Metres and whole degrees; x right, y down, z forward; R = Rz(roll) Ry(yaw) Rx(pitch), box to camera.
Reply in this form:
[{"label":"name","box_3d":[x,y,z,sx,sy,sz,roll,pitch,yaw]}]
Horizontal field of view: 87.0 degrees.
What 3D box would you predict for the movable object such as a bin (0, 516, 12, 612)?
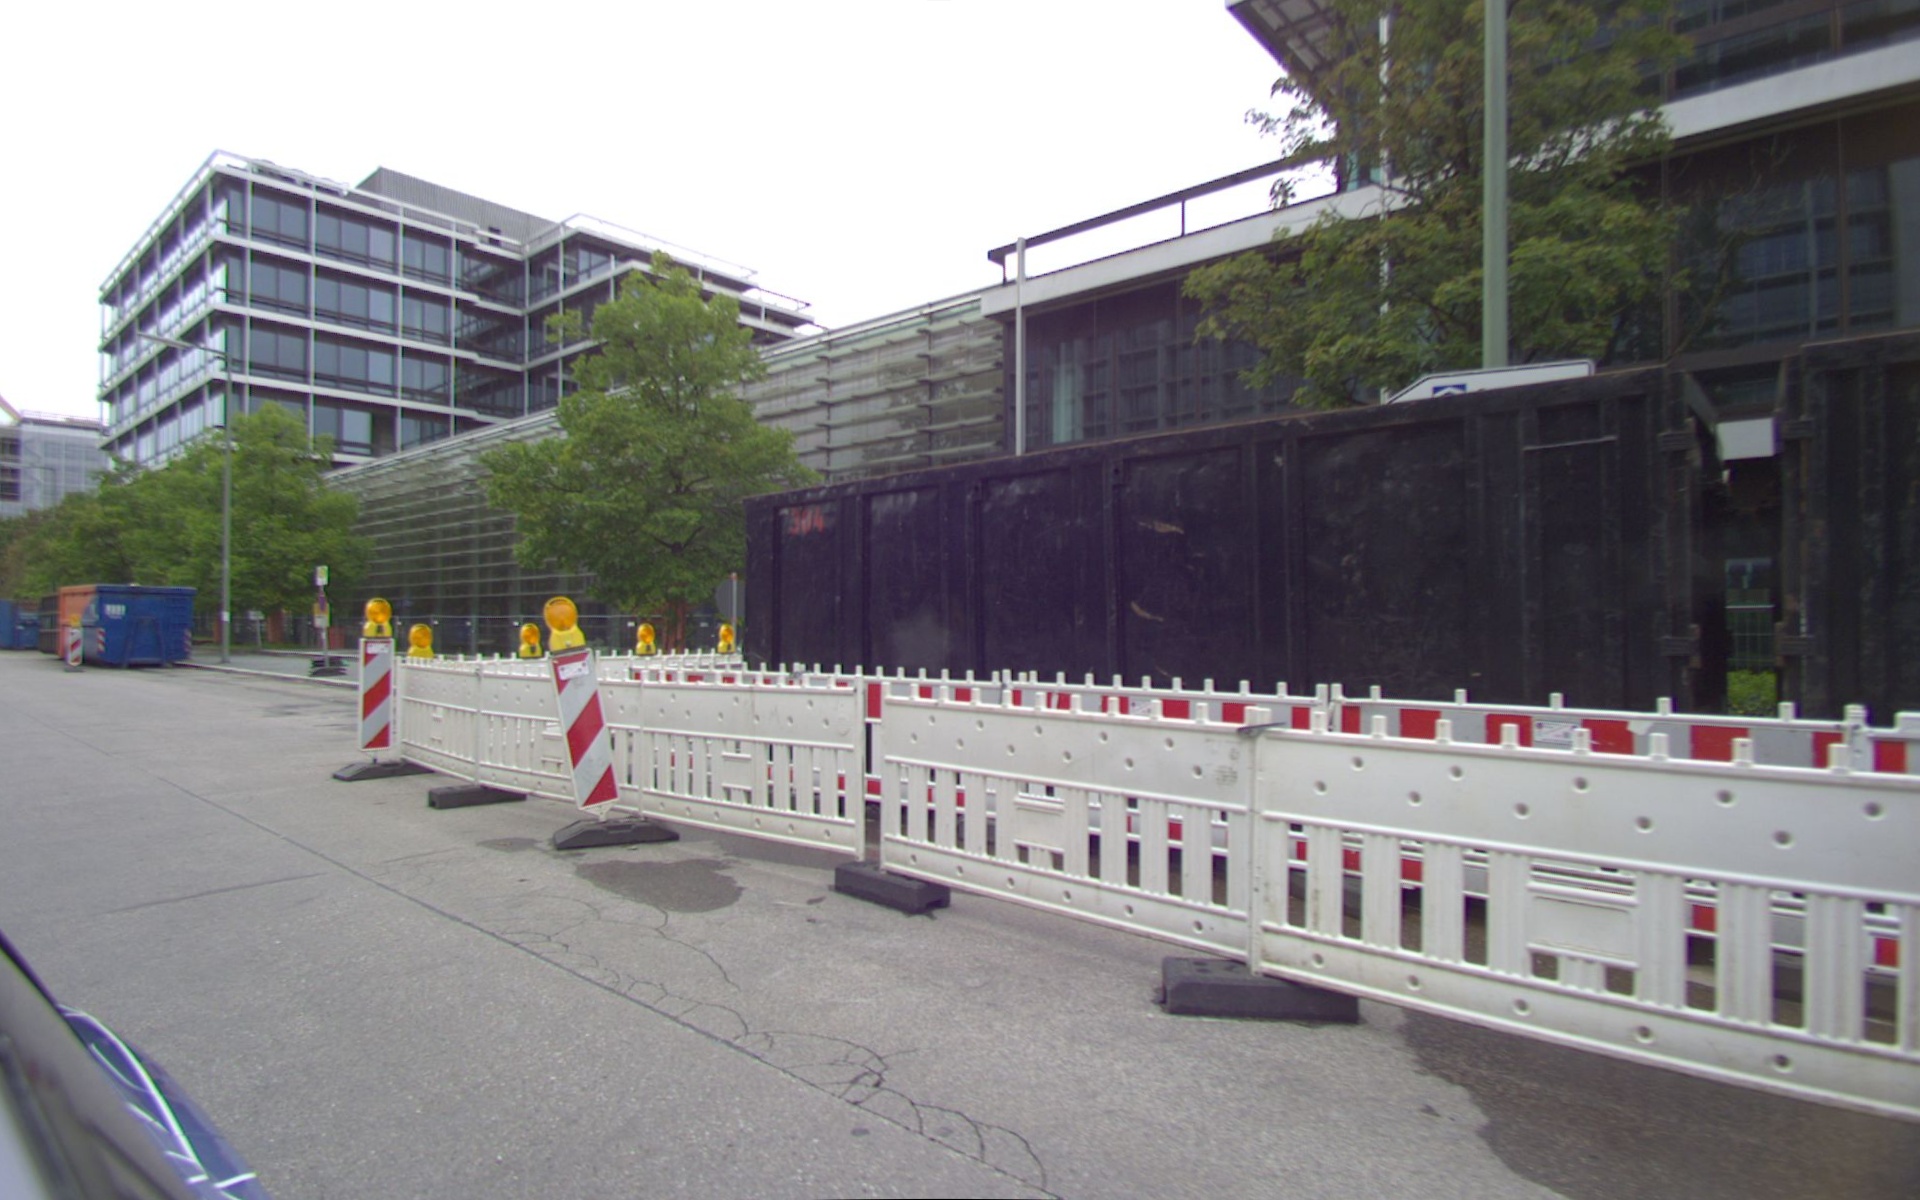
[{"label":"movable object such as a bin","box_3d":[-71.058,-2.439,72.796,11.778,6.614,2.874,-1,-2,41]}]
